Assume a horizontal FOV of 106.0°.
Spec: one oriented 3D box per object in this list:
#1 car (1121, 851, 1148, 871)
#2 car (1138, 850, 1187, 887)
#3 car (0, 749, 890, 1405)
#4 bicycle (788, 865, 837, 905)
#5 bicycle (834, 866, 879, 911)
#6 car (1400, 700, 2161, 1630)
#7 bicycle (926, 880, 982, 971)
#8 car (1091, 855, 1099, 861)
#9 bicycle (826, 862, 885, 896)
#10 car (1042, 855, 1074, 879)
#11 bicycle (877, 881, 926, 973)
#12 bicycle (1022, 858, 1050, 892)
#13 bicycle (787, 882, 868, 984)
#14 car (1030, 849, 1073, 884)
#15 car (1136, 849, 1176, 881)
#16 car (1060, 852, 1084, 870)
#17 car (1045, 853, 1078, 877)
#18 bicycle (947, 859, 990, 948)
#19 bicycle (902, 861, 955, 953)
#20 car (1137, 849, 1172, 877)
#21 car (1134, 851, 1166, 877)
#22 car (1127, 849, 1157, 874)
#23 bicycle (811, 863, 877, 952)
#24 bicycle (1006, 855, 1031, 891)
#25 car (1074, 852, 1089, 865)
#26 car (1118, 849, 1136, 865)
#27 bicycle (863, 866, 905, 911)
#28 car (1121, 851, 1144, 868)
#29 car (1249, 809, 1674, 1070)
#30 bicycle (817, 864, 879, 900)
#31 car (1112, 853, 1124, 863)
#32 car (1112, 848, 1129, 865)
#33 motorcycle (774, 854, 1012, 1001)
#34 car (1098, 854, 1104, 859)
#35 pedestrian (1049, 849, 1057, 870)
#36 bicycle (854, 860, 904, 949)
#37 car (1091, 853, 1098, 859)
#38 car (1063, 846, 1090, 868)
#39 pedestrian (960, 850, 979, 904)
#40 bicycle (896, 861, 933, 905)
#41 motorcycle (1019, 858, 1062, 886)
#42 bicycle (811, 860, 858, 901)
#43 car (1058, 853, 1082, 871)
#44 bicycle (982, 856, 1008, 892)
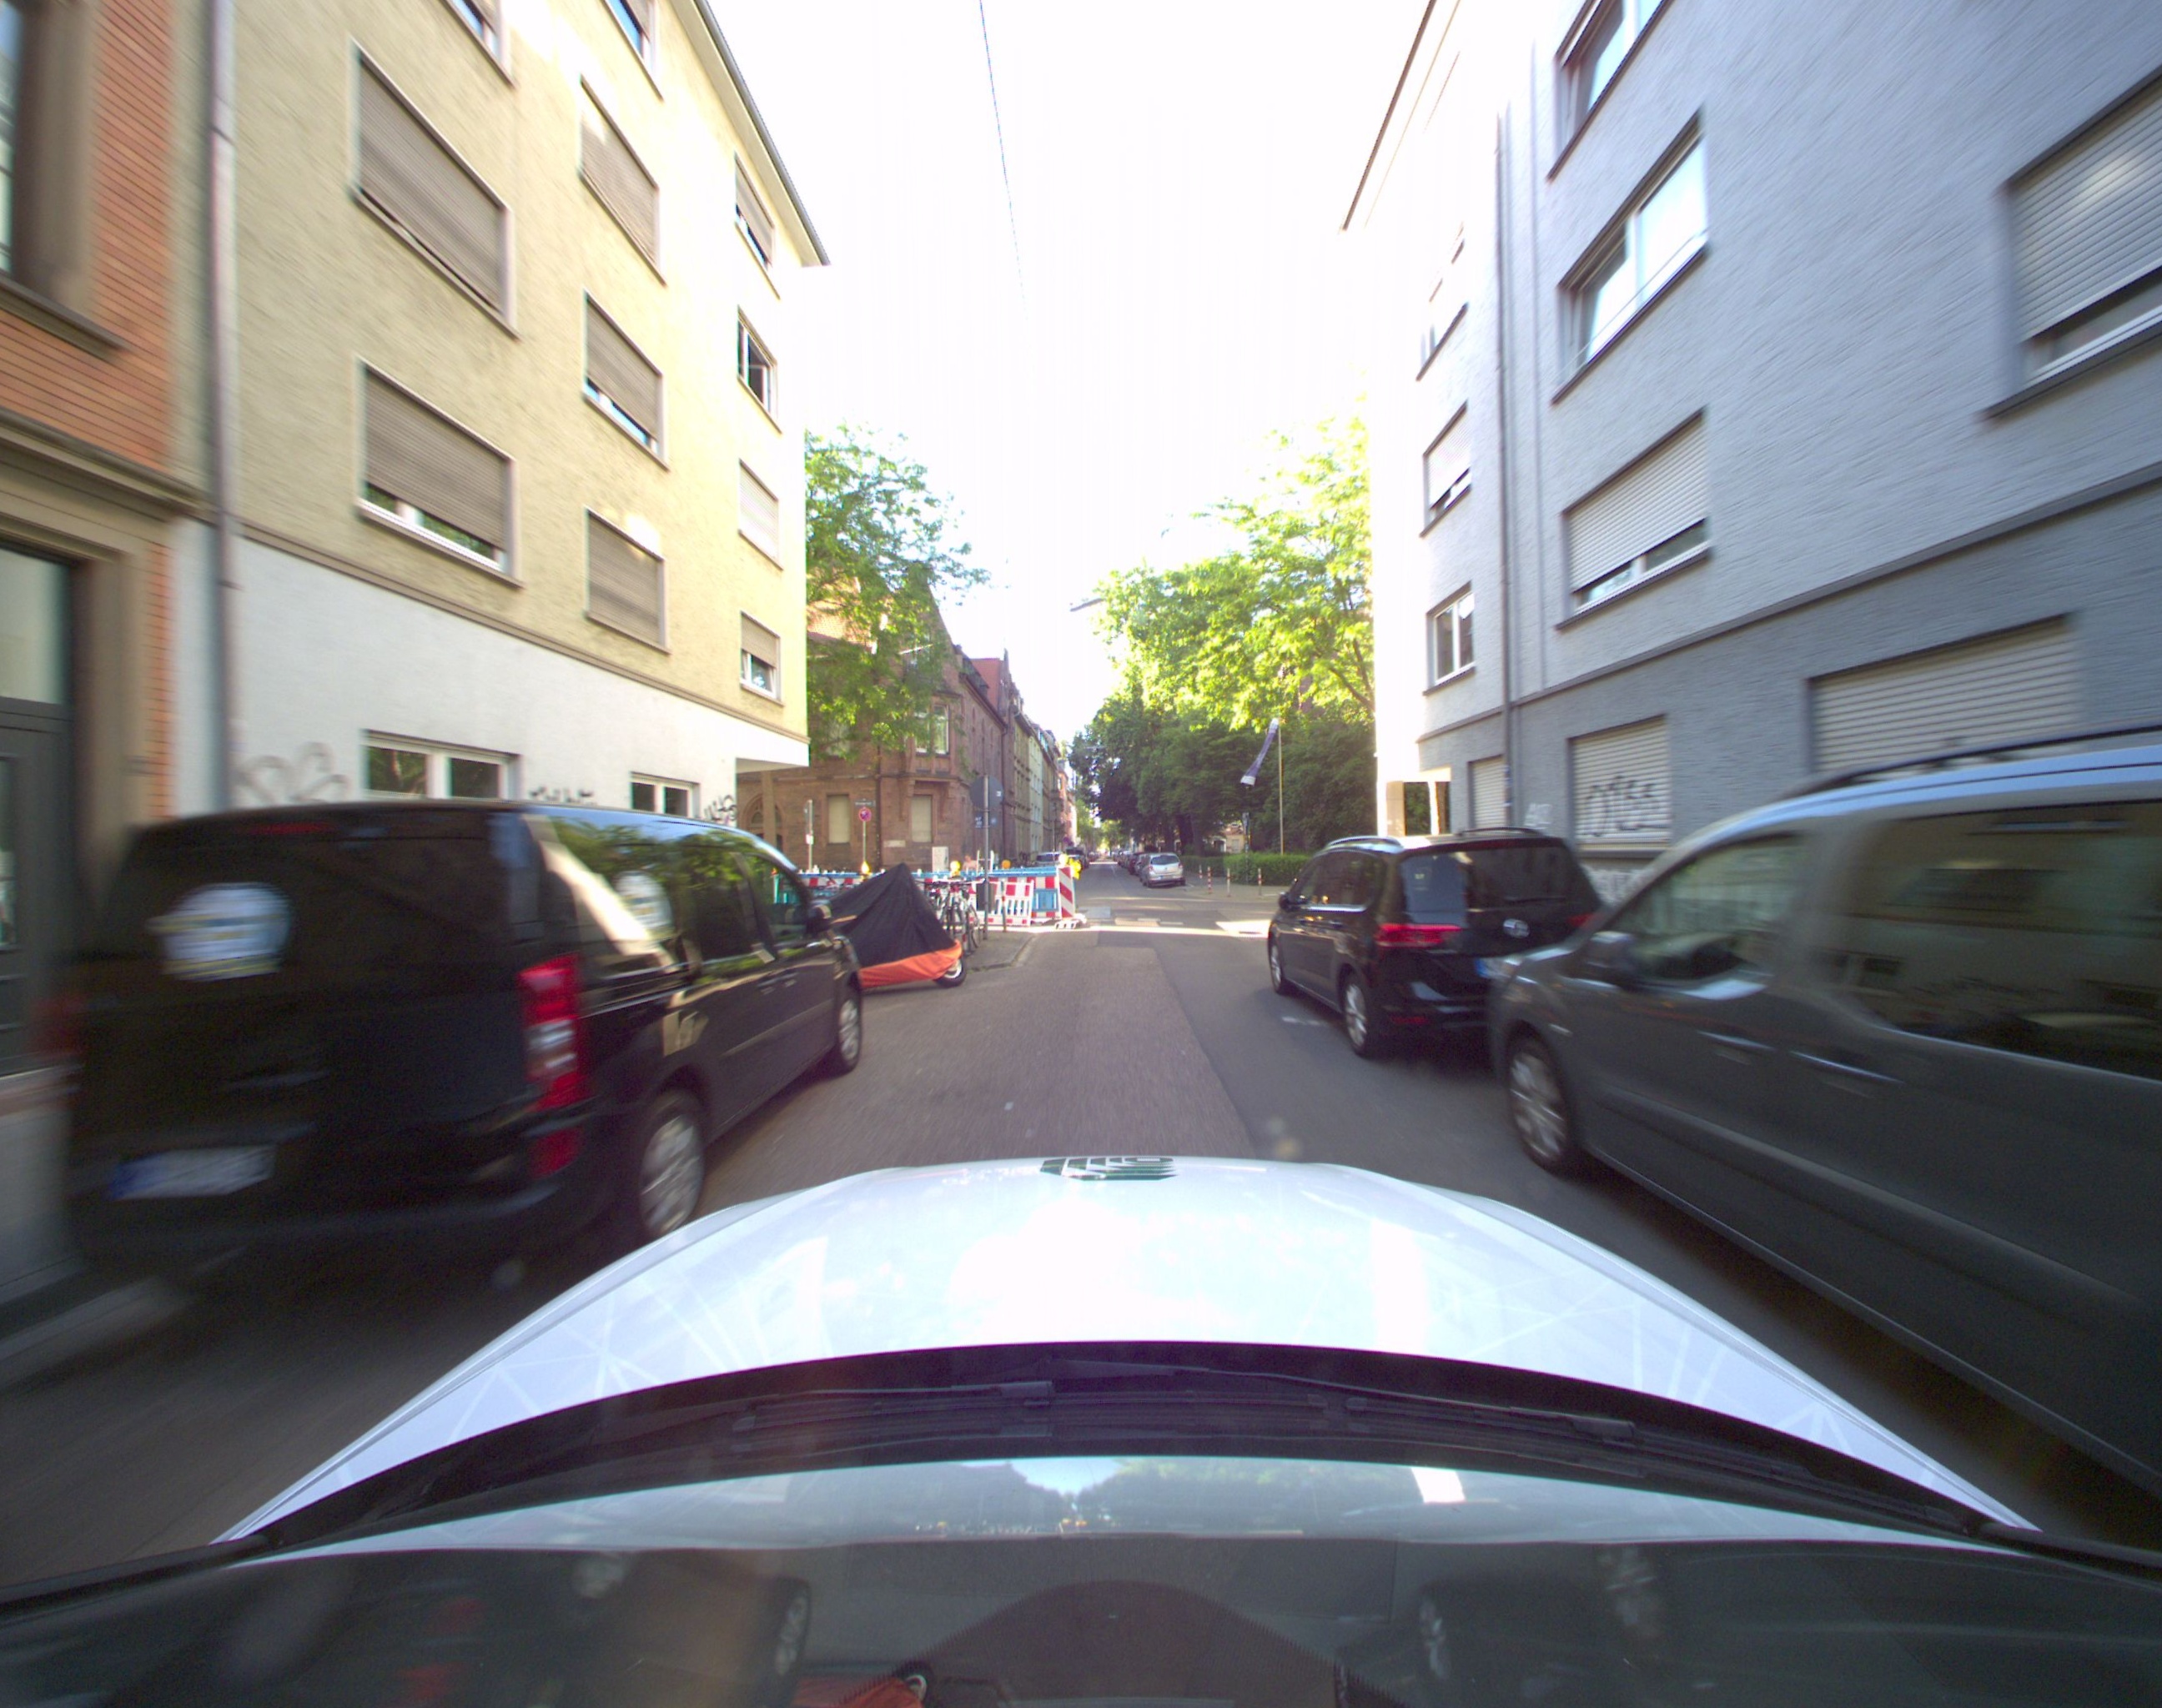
[{"bbox_3d":[4.425,0.545,68.056,1.987,1.574,4.000,-1,0,1],"label":"car"},{"bbox_3d":[3.651,0.606,36.983,1.719,1.522,3.998,-2,0,-1],"label":"car"},{"bbox_3d":[-2.437,0.606,4.411,1.813,1.766,4.333,-1,0,-1],"label":"car"},{"bbox_3d":[-8.934,1.007,27.231,0.680,1.180,2.447,-1,2,3],"label":"bicycle"},{"bbox_3d":[-7.466,1.118,27.206,0.680,1.321,2.447,-1,1,3],"label":"bicycle"},{"bbox_3d":[2.938,0.536,2.912,1.747,1.786,4.725,-4,0,1],"label":"car"},{"bbox_3d":[-1.789,0.975,11.671,0.423,1.140,1.667,1,0,3],"label":"bicycle"},{"bbox_3d":[3.747,1.055,219.792,1.986,1.647,4.001,-1,0,1],"label":"car"},{"bbox_3d":[-8.292,0.928,29.999,1.954,1.180,0.686,-1,1,2],"label":"bicycle"},{"bbox_3d":[-1.383,0.751,49.646,1.719,1.393,4.001,-1,0,1],"label":"car"},{"bbox_3d":[-2.741,1.075,12.551,0.362,1.227,1.553,-2,1,0],"label":"bicycle"},{"bbox_3d":[-1.870,0.829,33.376,0.684,1.345,2.491,-1,0,-14],"label":"bicycle"},{"bbox_3d":[-3.305,0.985,10.775,0.545,1.155,1.869,-1,0,-3],"label":"bicycle"},{"bbox_3d":[-1.510,0.629,43.163,1.874,1.707,4.002,-3,0,2],"label":"car"},{"bbox_3d":[3.873,0.559,42.514,1.717,1.522,4.000,-1,0,1],"label":"car"},{"bbox_3d":[-0.800,0.644,73.298,1.987,1.574,4.000,-1,0,1],"label":"car"},{"bbox_3d":[-1.245,0.713,54.161,1.874,1.411,4.002,-3,0,2],"label":"car"},{"bbox_3d":[-1.709,0.728,12.568,0.398,1.227,1.505,-2,1,1],"label":"bicycle"},{"bbox_3d":[-2.302,0.755,12.450,0.398,1.227,1.874,-2,2,1],"label":"bicycle"},{"bbox_3d":[4.305,0.521,48.151,1.735,1.574,4.000,-1,0,1],"label":"car"},{"bbox_3d":[4.477,0.613,53.341,1.835,1.596,4.001,-1,0,1],"label":"car"},{"bbox_3d":[4.300,0.525,58.178,1.888,1.625,4.000,-1,0,1],"label":"car"},{"bbox_3d":[-3.752,0.803,13.048,0.398,1.227,2.031,-1,2,1],"label":"bicycle"},{"bbox_3d":[-2.577,0.760,33.437,0.573,1.423,2.490,-1,0,-14],"label":"bicycle"},{"bbox_3d":[0.083,0.528,101.803,1.896,1.574,4.000,-1,0,1],"label":"car"},{"bbox_3d":[5.017,0.356,89.714,1.823,1.703,4.000,-1,0,1],"label":"car"},{"bbox_3d":[-6.554,1.123,27.243,0.680,1.321,2.447,-1,1,3],"label":"bicycle"},{"bbox_3d":[4.972,0.506,78.351,1.987,1.574,4.000,-1,0,1],"label":"car"},{"bbox_3d":[2.912,0.562,7.462,1.894,1.640,4.392,-1,0,1],"label":"car"},{"bbox_3d":[-8.291,0.992,29.059,1.955,1.180,0.685,-1,1,2],"label":"bicycle"},{"bbox_3d":[6.586,0.640,146.052,1.986,1.728,4.001,-2,0,1],"label":"car"},{"bbox_3d":[5.245,0.331,108.571,2.153,2.255,4.526,-1,0,1],"label":"car"},{"bbox_3d":[-2.140,0.762,9.374,2.525,1.482,0.896,-1,0,-26],"label":"motorcycle"},{"bbox_3d":[6.132,0.816,250.645,1.986,1.647,4.001,-1,0,1],"label":"car"},{"bbox_3d":[-2.763,0.522,80.894,0.684,2.014,0.690,-1,-1,-6],"label":"pedestrian"},{"bbox_3d":[-3.130,0.751,12.752,0.293,1.227,1.700,-1,2,1],"label":"bicycle"},{"bbox_3d":[3.874,0.597,228.311,1.986,1.647,4.001,-1,0,1],"label":"car"},{"bbox_3d":[-0.399,0.305,81.160,2.300,2.114,5.173,-1,0,3],"label":"car"},{"bbox_3d":[-3.602,0.736,26.389,0.523,1.740,0.557,-1,0,-3],"label":"pedestrian"},{"bbox_3d":[-5.571,0.939,27.363,0.680,1.321,2.145,-1,1,3],"label":"bicycle"},{"bbox_3d":[-1.850,0.815,36.730,0.670,1.207,2.284,-1,-1,-40],"label":"motorcycle"},{"bbox_3d":[-8.205,0.856,27.212,0.680,1.180,2.447,-1,2,3],"label":"bicycle"},{"bbox_3d":[-0.824,0.582,63.845,1.765,1.353,4.001,-1,0,1],"label":"car"},{"bbox_3d":[-3.545,0.784,33.886,0.680,1.423,2.799,-1,0,1],"label":"bicycle"}]
